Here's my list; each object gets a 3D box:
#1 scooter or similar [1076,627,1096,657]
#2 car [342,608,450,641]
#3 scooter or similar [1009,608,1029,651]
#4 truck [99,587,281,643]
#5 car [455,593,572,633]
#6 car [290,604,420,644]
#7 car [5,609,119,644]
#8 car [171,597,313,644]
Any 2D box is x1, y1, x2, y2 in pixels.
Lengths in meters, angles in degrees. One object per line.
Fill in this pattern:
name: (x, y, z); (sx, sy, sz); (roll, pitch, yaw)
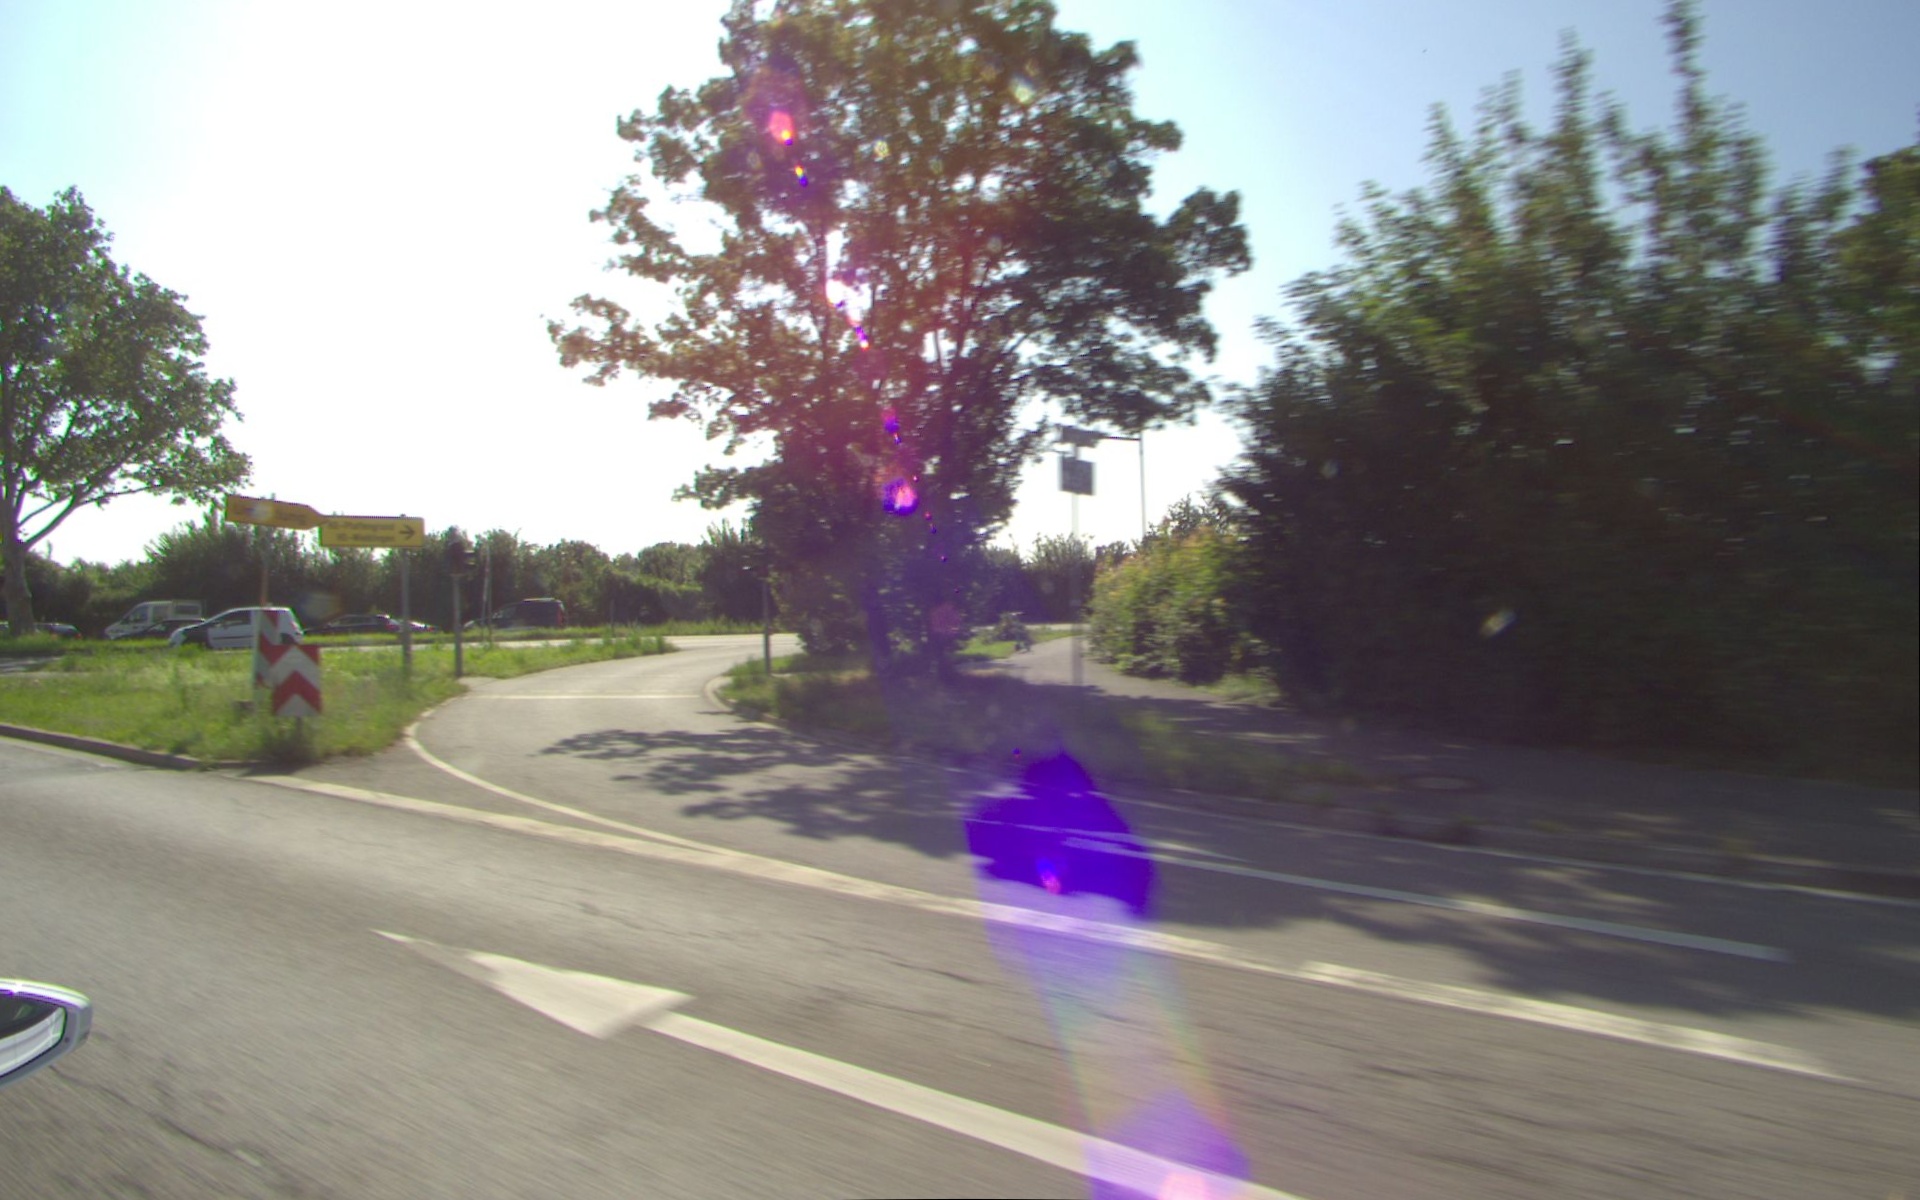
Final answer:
scooter or similar: (3.379, 1.124, 26.856); (0.427, 0.736, 1.120); (0, 1, 13)
car: (-26.043, 1.157, 46.355); (3.923, 1.438, 1.891); (0, -2, -6)
scooter or similar: (1.772, 0.873, 29.916); (0.427, 1.252, 0.967); (0, 2, 13)
truck: (-34.691, 0.727, 45.256); (6.349, 2.416, 2.347); (0, -2, 0)
car: (-19.402, 0.586, 43.699); (4.387, 1.655, 1.885); (1, -2, -14)
car: (-25.930, 1.046, 43.039); (4.383, 1.655, 1.887); (0, -2, -6)
car: (-40.779, 1.218, 45.515); (3.750, 1.567, 1.622); (0, -2, 2)
car: (-23.748, 0.661, 33.292); (3.703, 1.489, 1.775); (0, 0, -32)
